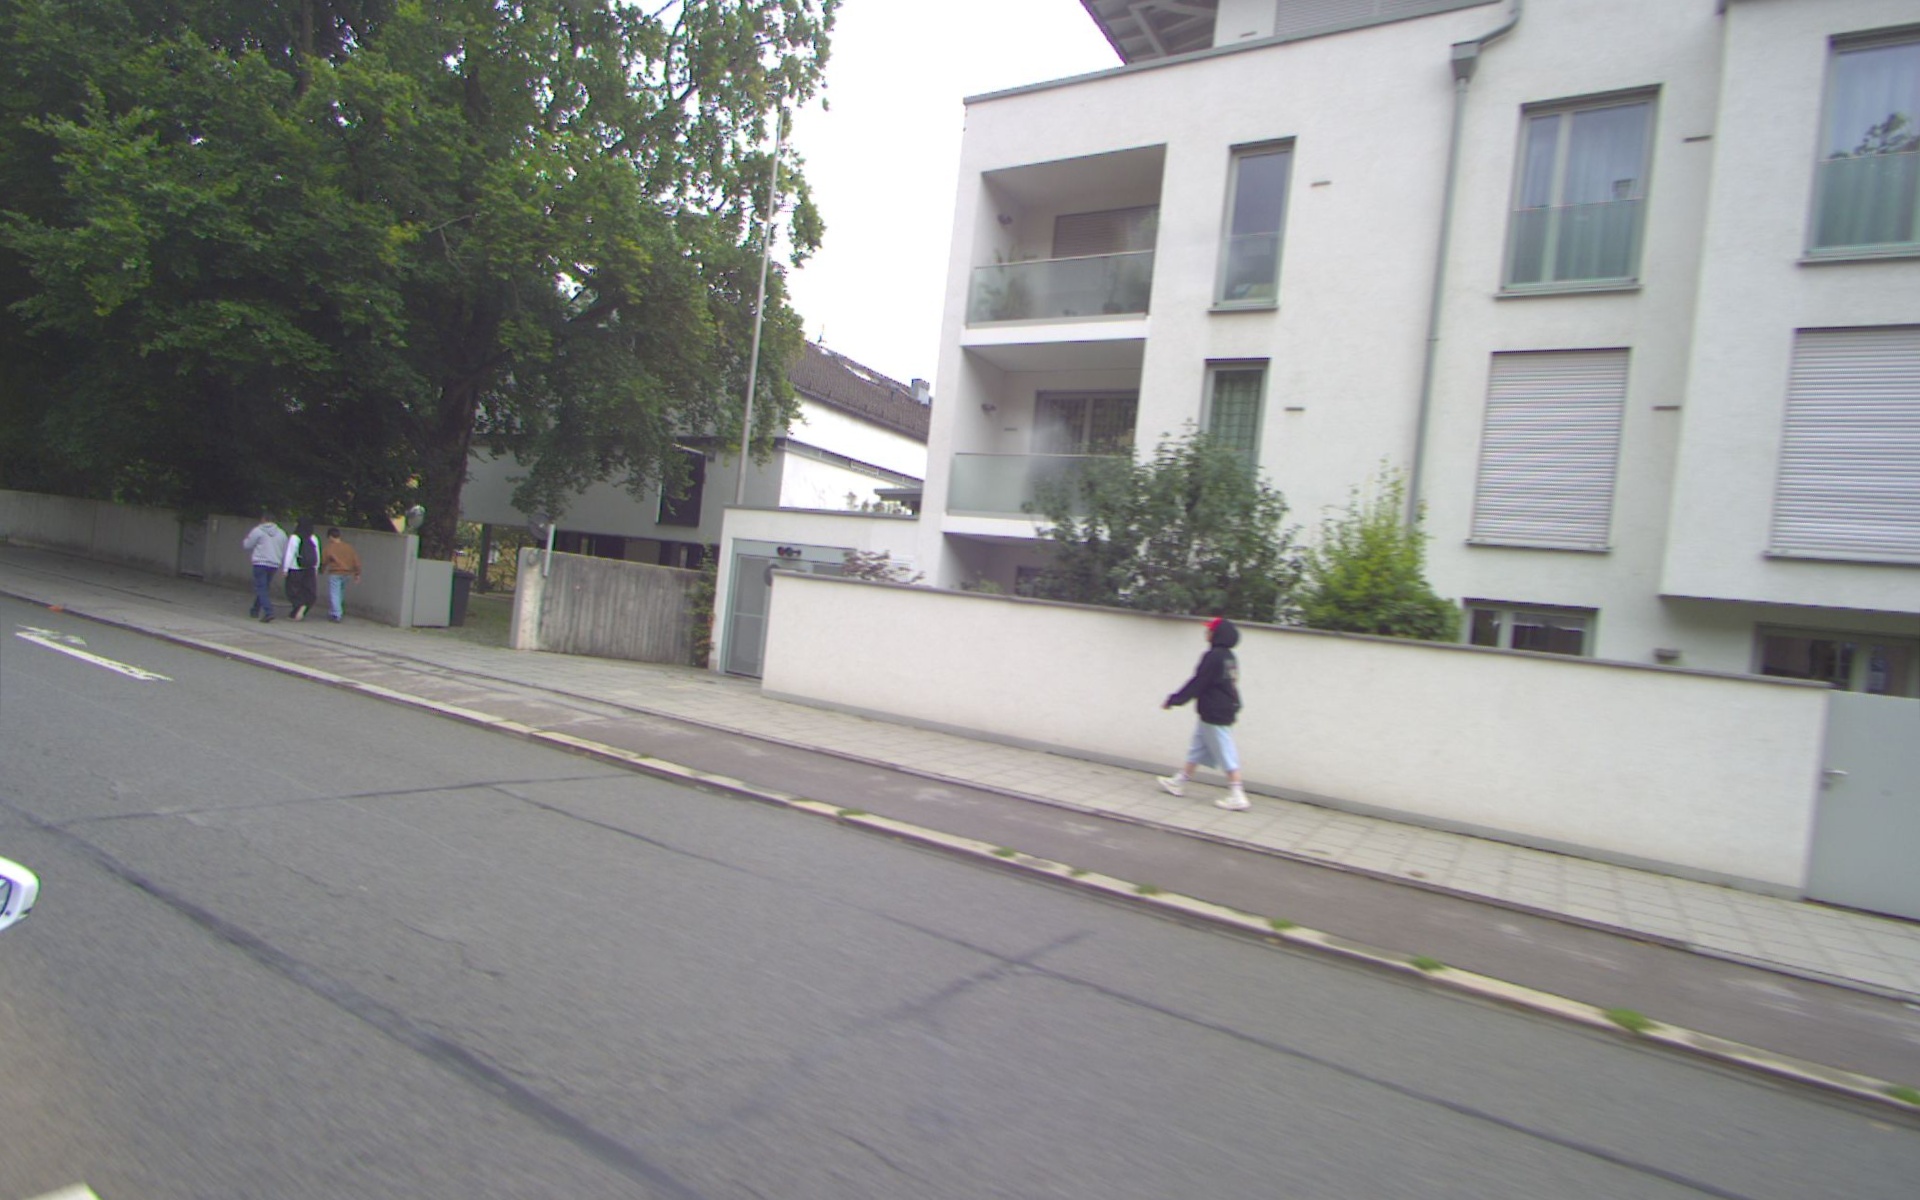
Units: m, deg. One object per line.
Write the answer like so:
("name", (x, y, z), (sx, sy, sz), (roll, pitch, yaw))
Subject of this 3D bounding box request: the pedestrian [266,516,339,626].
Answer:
("pedestrian", (-10.750, -0.465, 16.456), (0.716, 1.715, 0.666), (7, 3, 31))

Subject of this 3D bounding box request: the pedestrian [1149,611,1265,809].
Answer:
("pedestrian", (2.168, 0.932, 8.834), (0.716, 1.602, 0.528), (7, 3, 31))

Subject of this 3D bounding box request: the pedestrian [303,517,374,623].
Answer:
("pedestrian", (-10.606, -0.508, 17.171), (0.753, 1.728, 0.666), (7, 3, 31))

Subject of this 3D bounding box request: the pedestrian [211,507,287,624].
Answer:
("pedestrian", (-11.156, -0.540, 15.783), (0.716, 1.746, 0.666), (7, 3, 31))

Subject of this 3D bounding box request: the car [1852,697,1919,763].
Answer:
("car", (32.776, 4.521, 34.874), (1.837, 2.005, 4.219), (5, -1, 31))
